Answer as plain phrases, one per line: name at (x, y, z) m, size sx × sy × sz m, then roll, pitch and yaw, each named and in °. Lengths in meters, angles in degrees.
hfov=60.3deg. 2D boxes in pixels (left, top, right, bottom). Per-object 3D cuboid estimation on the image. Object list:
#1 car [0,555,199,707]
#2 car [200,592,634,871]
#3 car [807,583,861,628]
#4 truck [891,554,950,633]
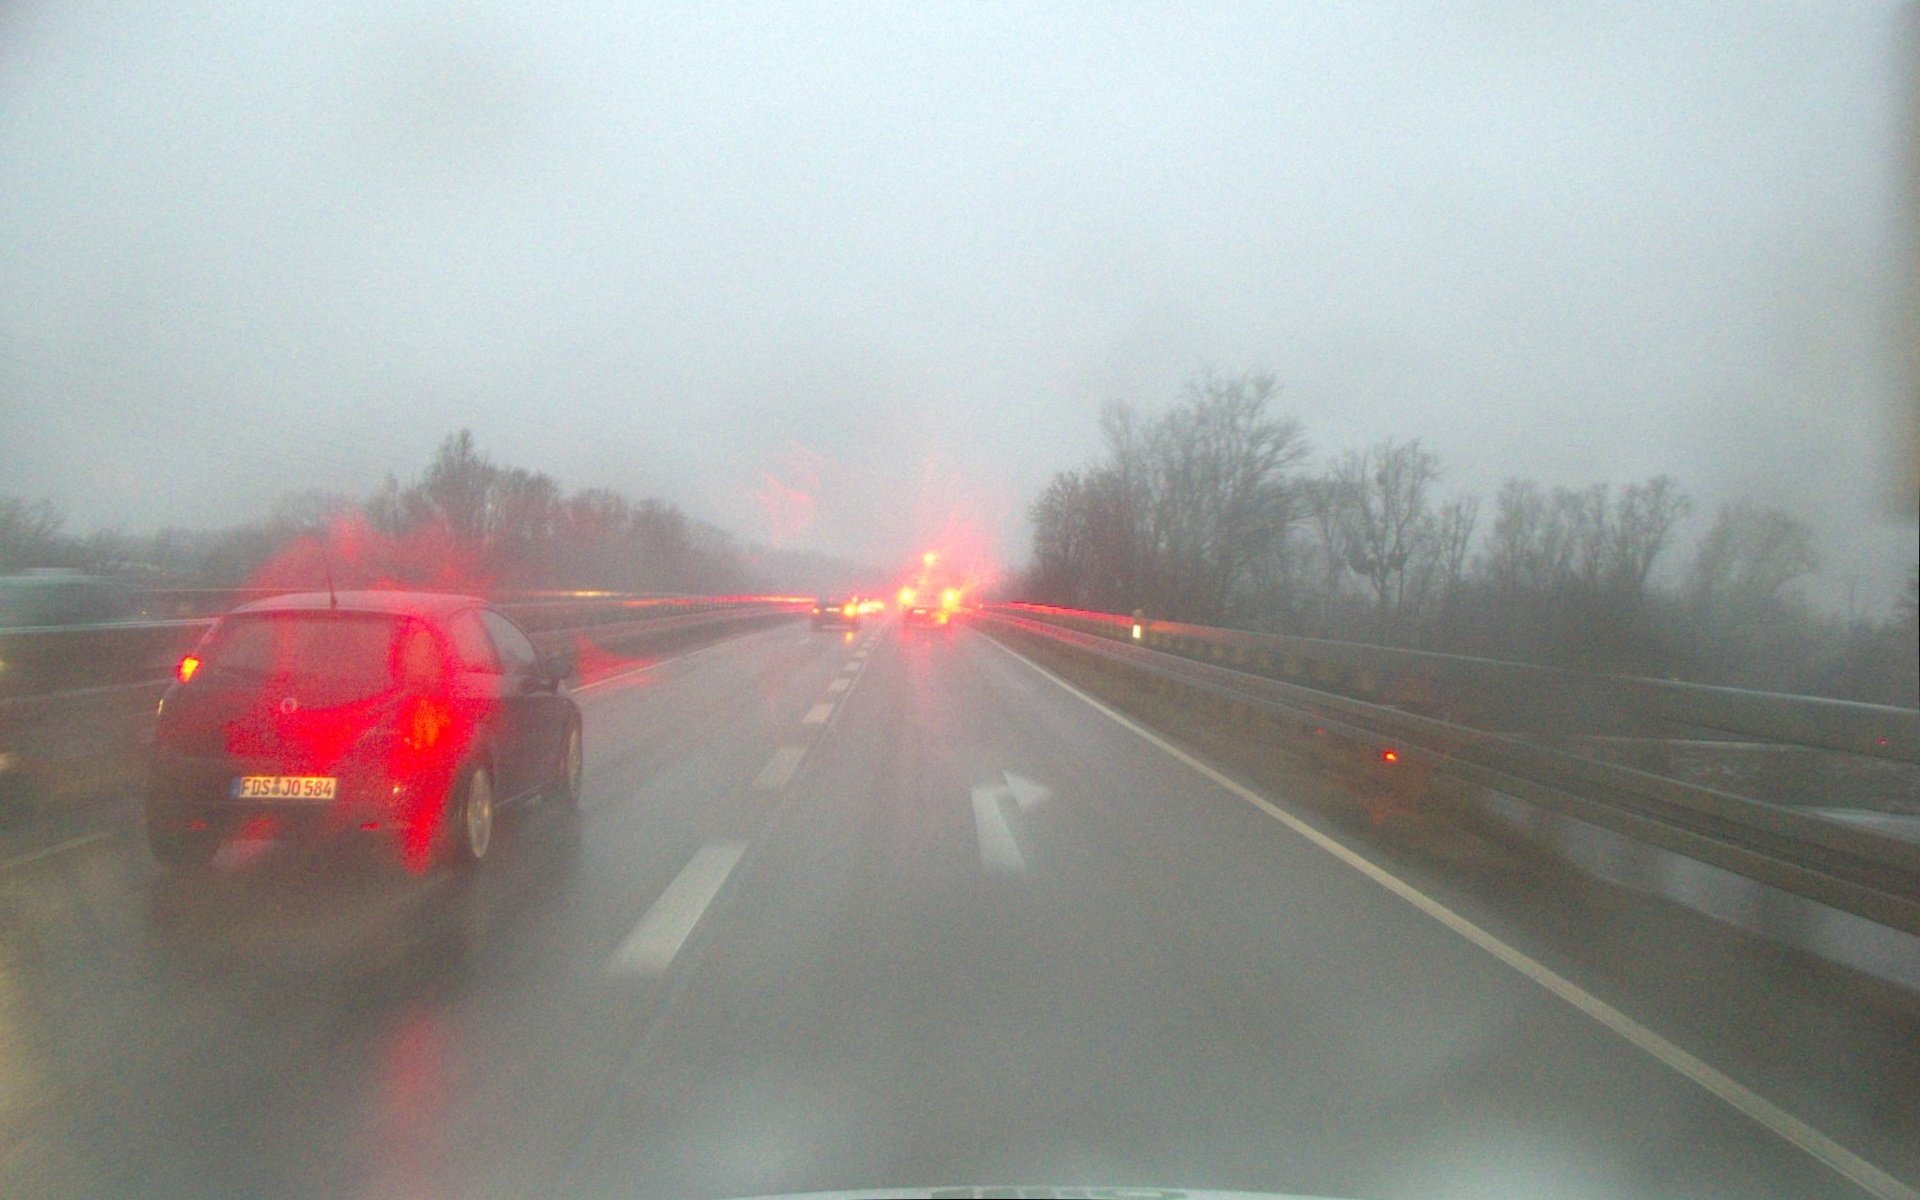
car at (-9.933, 0.288, 17.426) m, size 1.644 × 1.430 × 4.507 m, roll -3°, pitch 2°, yaw 0°
car at (-3.164, 0.663, 10.452) m, size 1.593 × 1.416 × 3.998 m, roll 0°, pitch 0°, yaw -3°
car at (-4.743, 0.248, 62.751) m, size 1.798 × 1.564 × 3.998 m, roll 1°, pitch -2°, yaw -2°
truck at (-1.630, -0.205, 67.876) m, size 2.334 × 2.960 × 4.671 m, roll 0°, pitch -3°, yaw -2°
